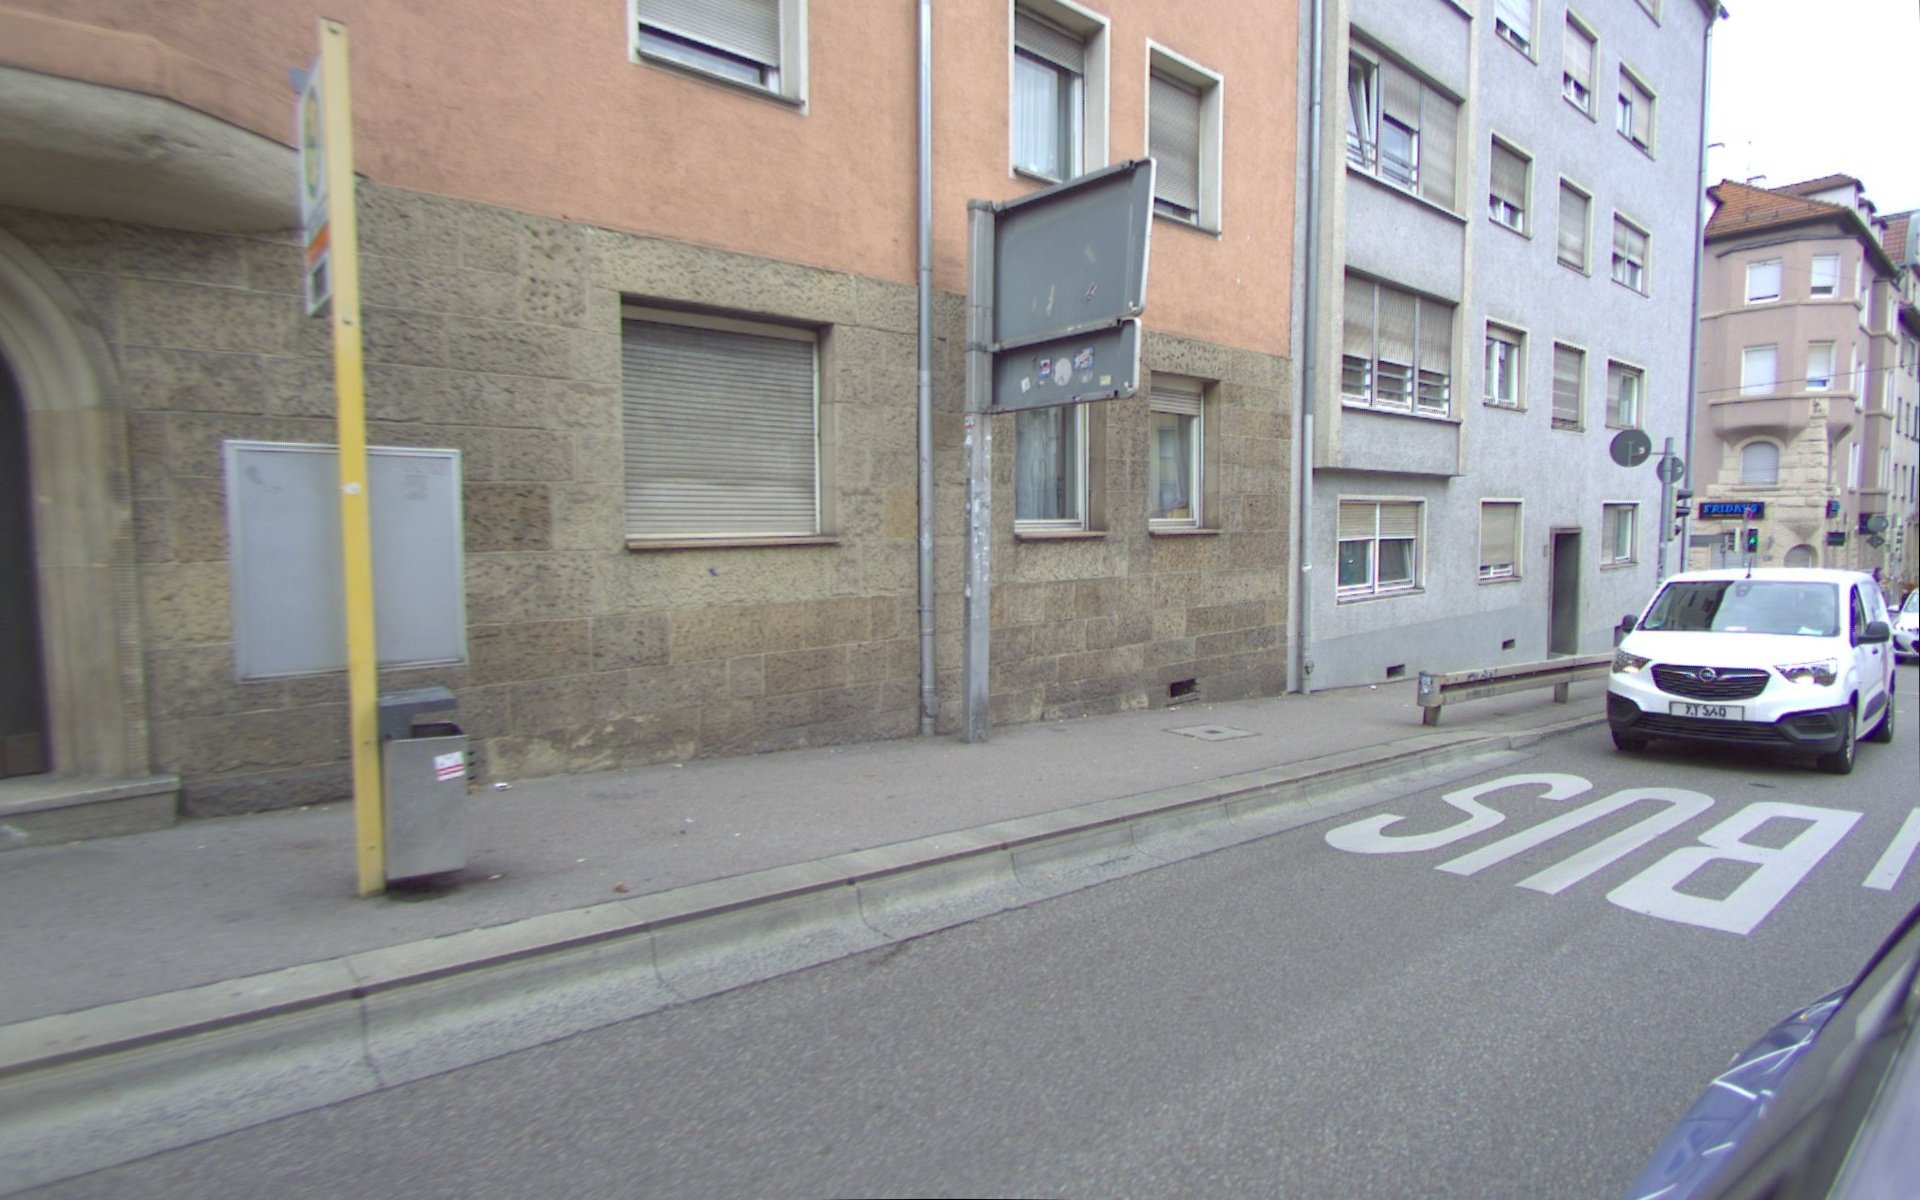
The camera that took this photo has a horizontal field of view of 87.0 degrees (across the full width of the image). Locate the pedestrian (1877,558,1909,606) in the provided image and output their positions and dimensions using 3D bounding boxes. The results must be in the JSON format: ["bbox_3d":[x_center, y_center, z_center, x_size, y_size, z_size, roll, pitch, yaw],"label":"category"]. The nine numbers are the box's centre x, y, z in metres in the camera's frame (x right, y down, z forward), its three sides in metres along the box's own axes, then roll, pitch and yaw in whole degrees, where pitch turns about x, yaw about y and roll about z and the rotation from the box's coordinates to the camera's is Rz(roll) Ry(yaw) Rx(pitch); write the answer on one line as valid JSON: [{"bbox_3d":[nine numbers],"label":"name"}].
[{"bbox_3d":[32.987,-0.628,35.787,0.988,1.668,0.733,-1,2,-43],"label":"pedestrian"}]

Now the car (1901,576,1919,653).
[{"bbox_3d":[22.195,0.300,22.328,4.092,1.628,1.778,0,0,-42],"label":"car"}]

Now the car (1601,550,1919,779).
[{"bbox_3d":[8.286,0.454,10.248,4.761,1.811,1.787,-1,2,-42],"label":"car"}]
